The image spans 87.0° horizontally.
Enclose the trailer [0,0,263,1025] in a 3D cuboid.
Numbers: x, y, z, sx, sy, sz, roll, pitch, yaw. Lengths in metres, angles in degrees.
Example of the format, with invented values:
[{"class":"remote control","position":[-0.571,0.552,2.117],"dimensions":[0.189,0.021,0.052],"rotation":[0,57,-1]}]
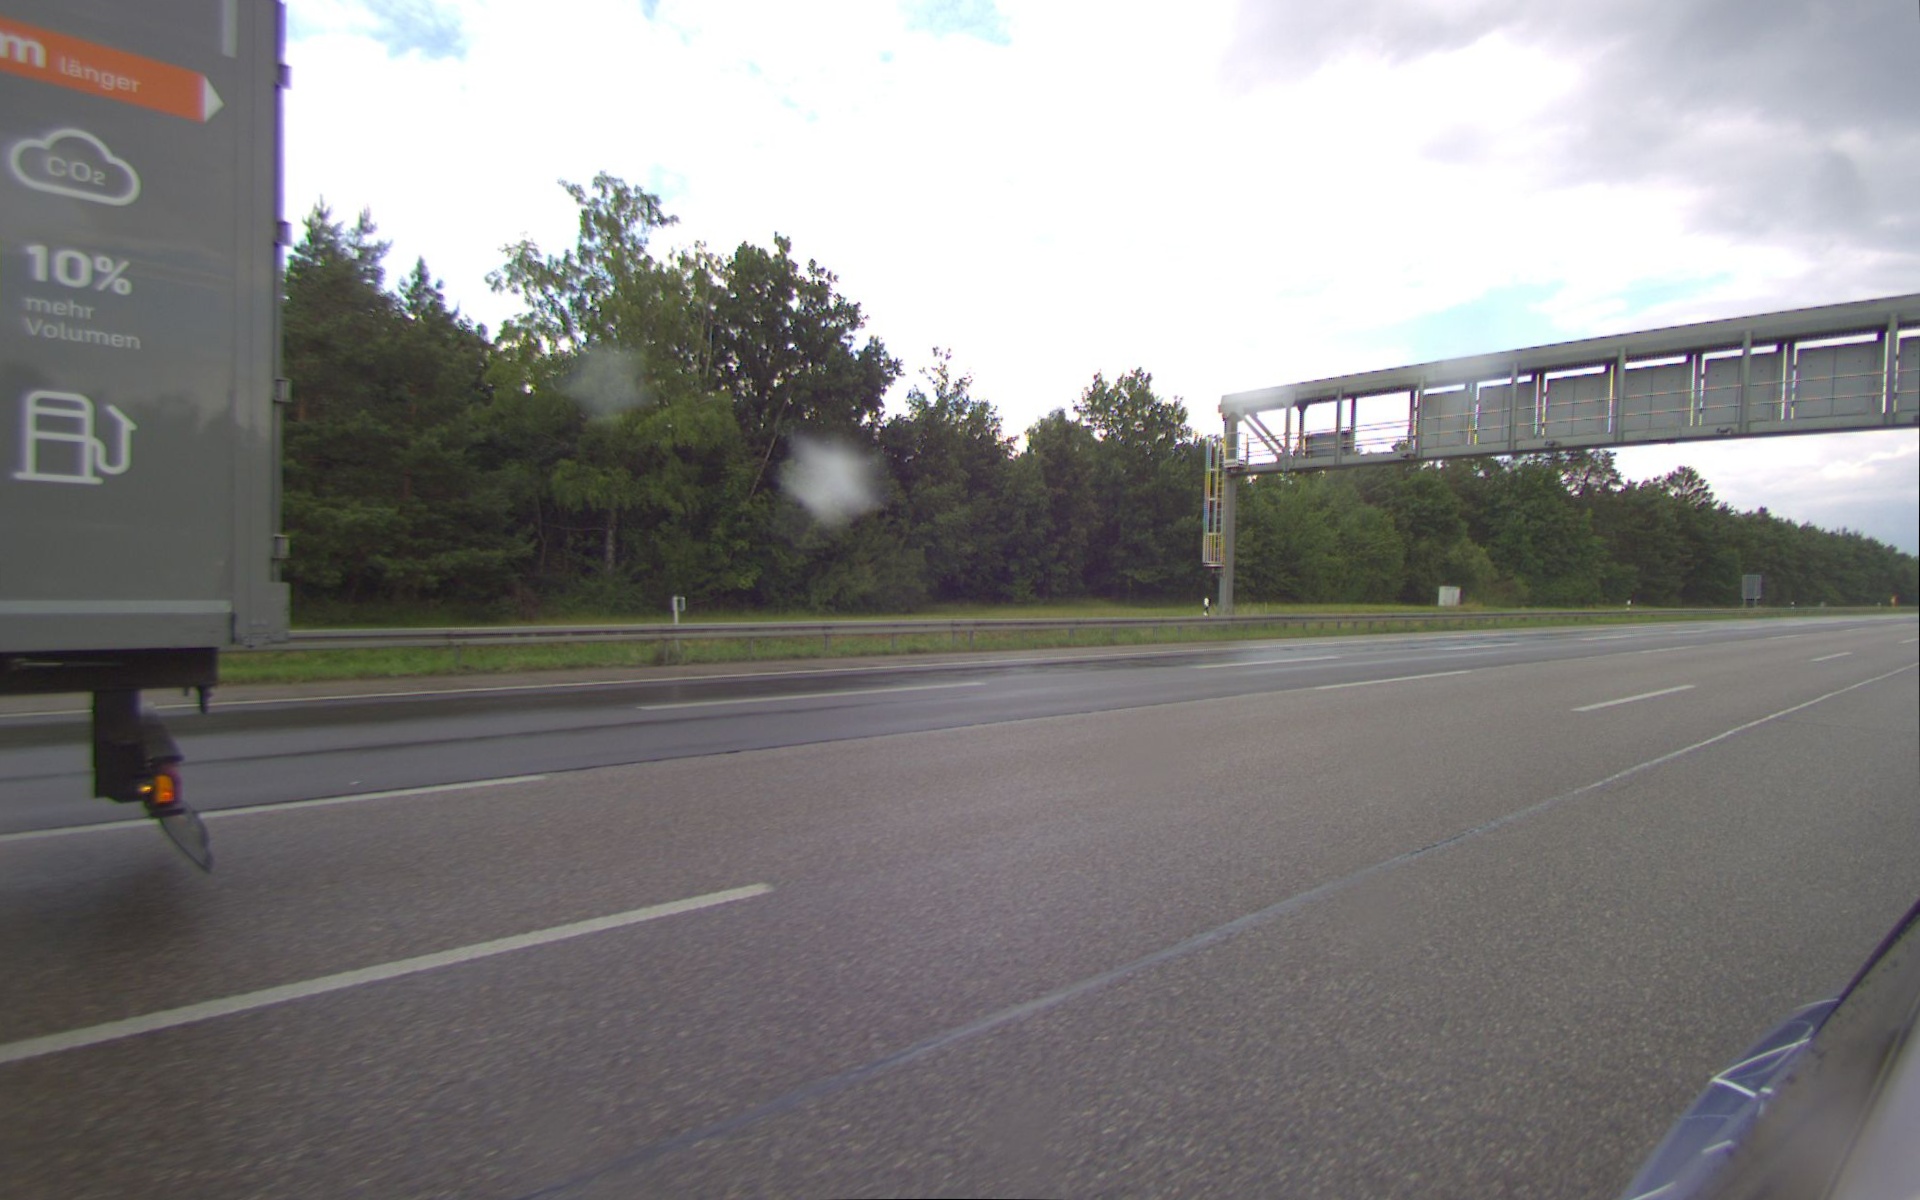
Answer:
[{"class":"trailer","position":[-8.479,-0.546,0.531],"dimensions":[13.181,4.052,2.327],"rotation":[0,0,-42]}]
